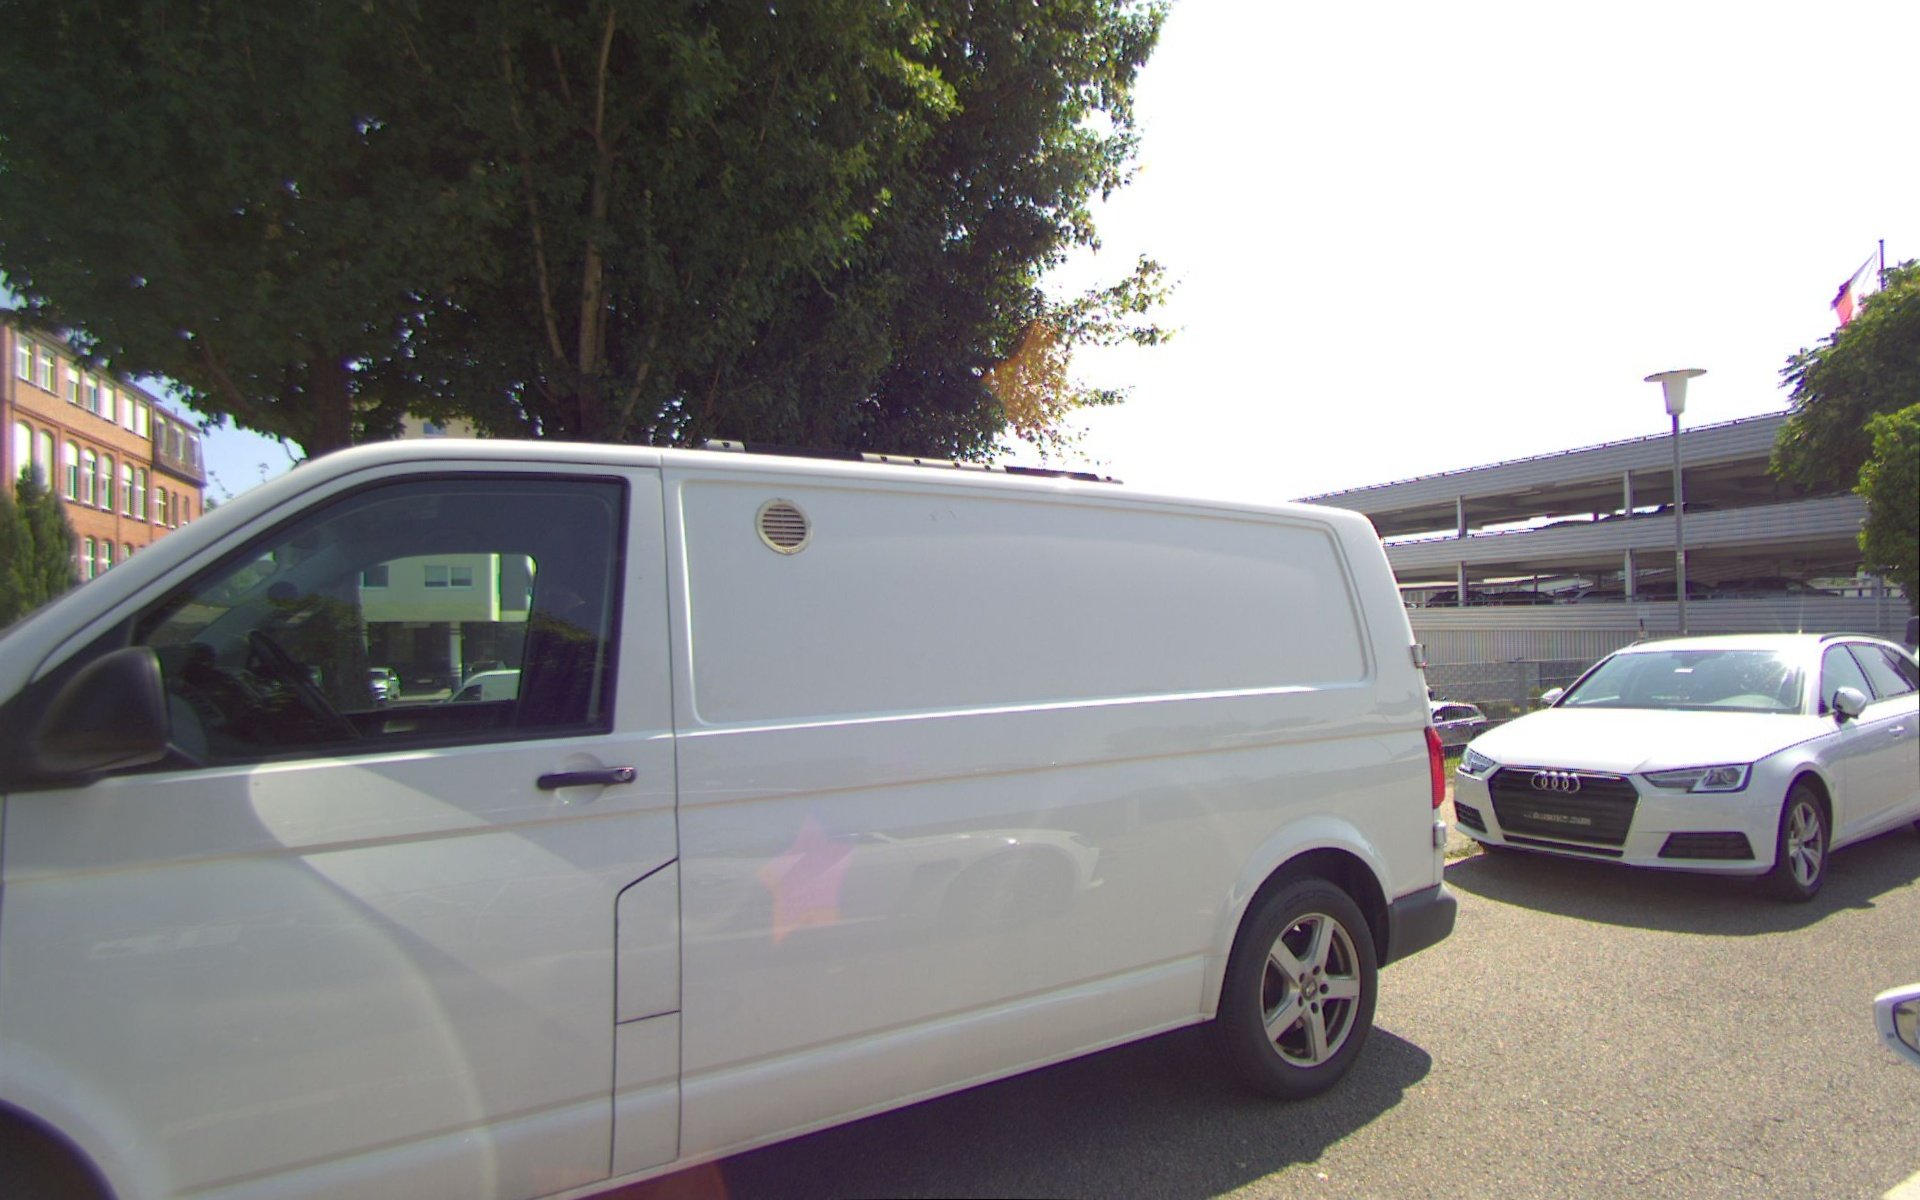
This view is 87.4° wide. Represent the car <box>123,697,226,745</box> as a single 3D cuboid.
[{"bbox_3d":[-33.091,5.046,42.482,2.084,1.699,4.583,0,-3,-20],"label":"car"}]

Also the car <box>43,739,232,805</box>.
[{"bbox_3d":[-27.518,5.723,33.806,4.535,1.699,1.814,-1,-4,-22],"label":"car"}]

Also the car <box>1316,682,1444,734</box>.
[{"bbox_3d":[14.516,3.686,34.694,3.948,1.461,1.987,0,-2,-27],"label":"car"}]

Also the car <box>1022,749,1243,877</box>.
[{"bbox_3d":[3.584,4.263,20.658,4.303,1.955,1.852,2,-2,-30],"label":"car"}]

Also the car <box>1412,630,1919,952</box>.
[{"bbox_3d":[5.176,1.026,6.830,4.353,1.563,1.705,1,-4,-33],"label":"car"}]

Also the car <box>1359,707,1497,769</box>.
[{"bbox_3d":[14.962,4.349,32.126,3.948,1.461,1.986,0,1,-27],"label":"car"}]

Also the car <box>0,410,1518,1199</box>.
[{"bbox_3d":[-0.659,0.797,3.238,4.996,2.039,1.963,1,-4,-30],"label":"car"}]

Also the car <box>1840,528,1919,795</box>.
[{"bbox_3d":[12.706,0.624,11.165,6.836,2.629,2.159,1,-4,-29],"label":"car"}]

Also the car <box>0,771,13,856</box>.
[{"bbox_3d":[-21.400,4.358,19.449,3.944,1.705,1.989,1,-4,-24],"label":"car"}]

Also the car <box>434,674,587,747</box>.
[{"bbox_3d":[-19.279,4.696,43.487,5.846,2.913,2.433,1,-4,-21],"label":"car"}]
